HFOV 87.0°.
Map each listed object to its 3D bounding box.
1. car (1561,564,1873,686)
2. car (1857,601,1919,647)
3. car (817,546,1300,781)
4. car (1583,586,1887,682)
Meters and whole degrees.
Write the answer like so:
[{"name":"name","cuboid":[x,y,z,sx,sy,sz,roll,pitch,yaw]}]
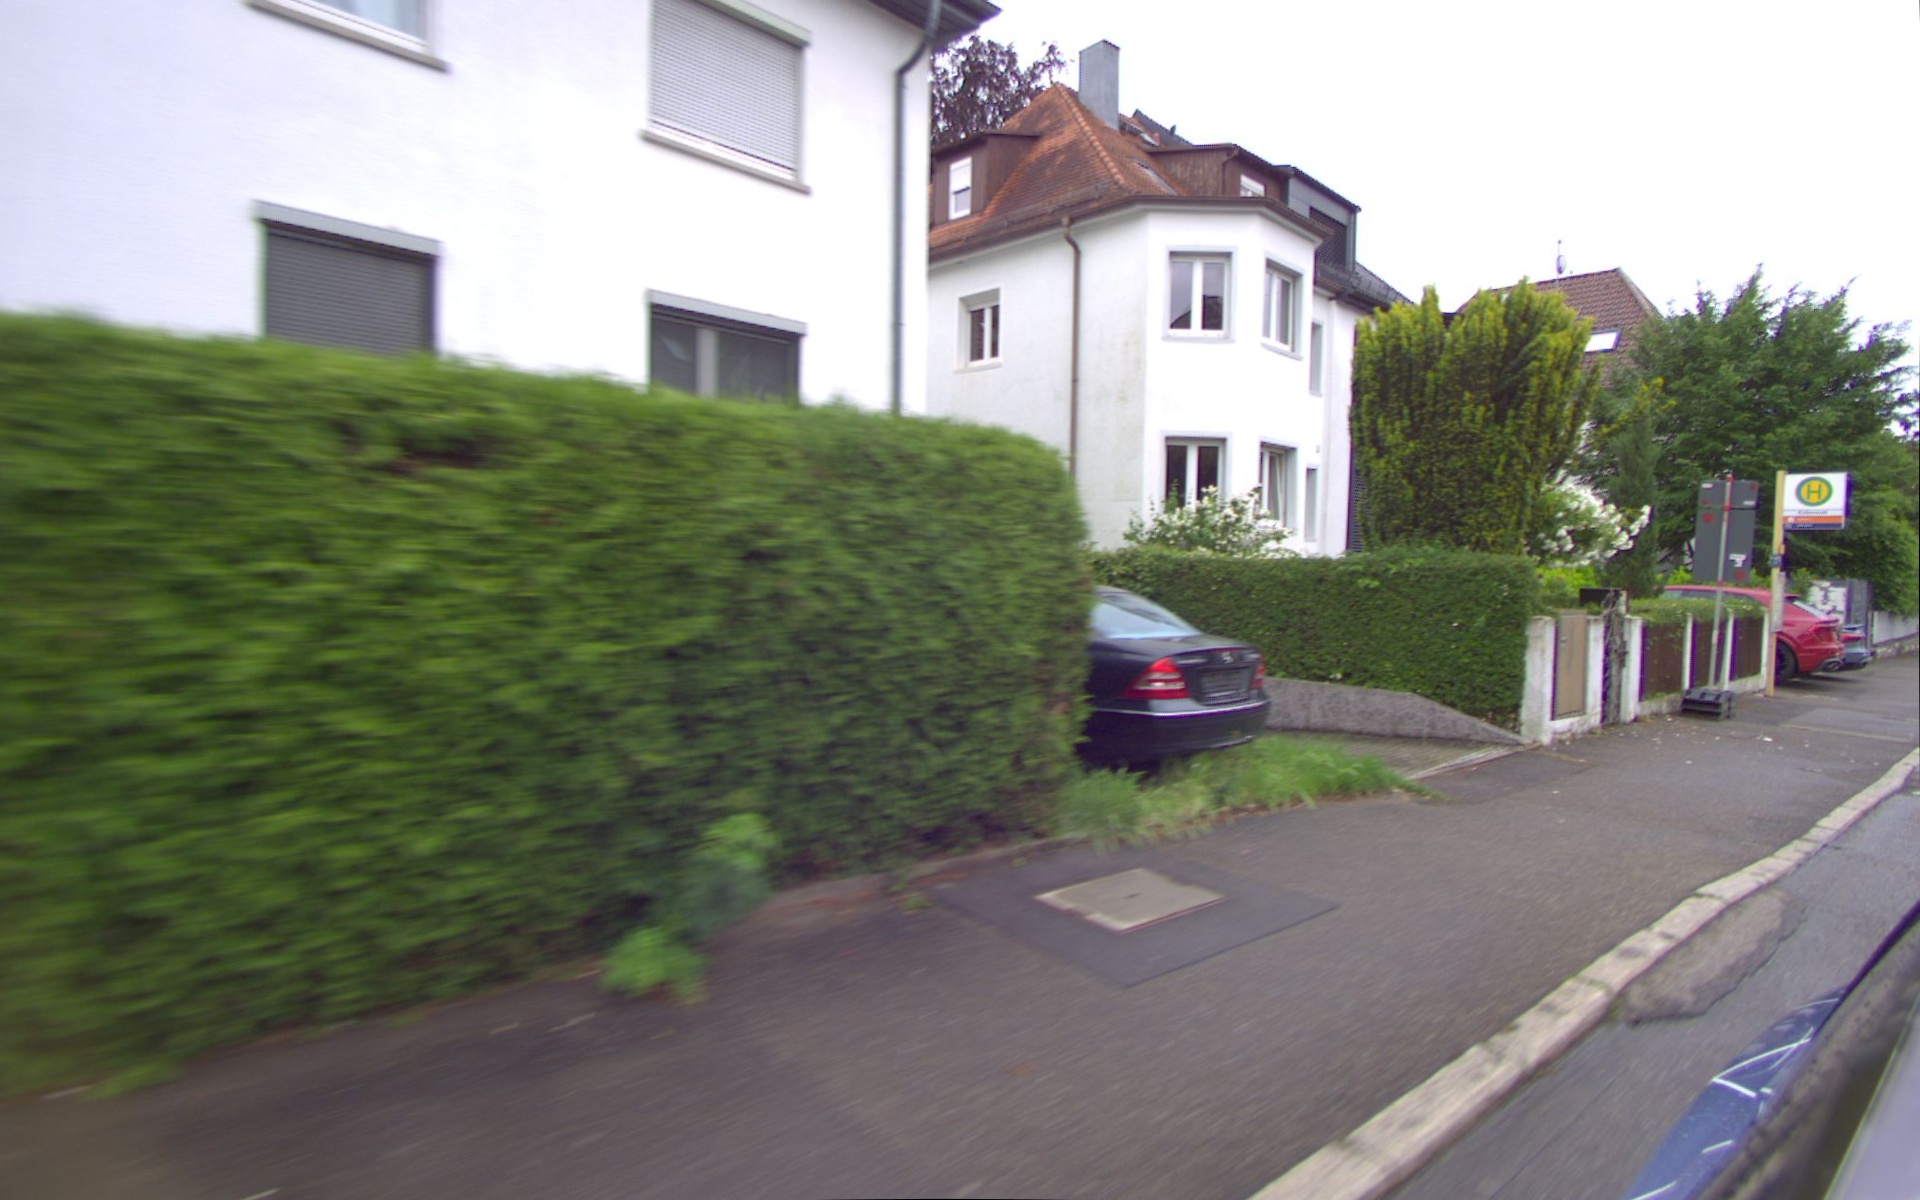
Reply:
[{"name":"car","cuboid":[13.215,0.358,18.048,4.047,1.771,1.982,4,2,27]},{"name":"car","cuboid":[40.915,1.026,43.031,1.741,1.883,3.994,0,1,-41]},{"name":"car","cuboid":[0.583,0.342,8.135,1.588,1.405,3.750,3,1,-41]},{"name":"car","cuboid":[15.222,0.588,20.055,4.550,1.433,1.968,5,3,44]}]
